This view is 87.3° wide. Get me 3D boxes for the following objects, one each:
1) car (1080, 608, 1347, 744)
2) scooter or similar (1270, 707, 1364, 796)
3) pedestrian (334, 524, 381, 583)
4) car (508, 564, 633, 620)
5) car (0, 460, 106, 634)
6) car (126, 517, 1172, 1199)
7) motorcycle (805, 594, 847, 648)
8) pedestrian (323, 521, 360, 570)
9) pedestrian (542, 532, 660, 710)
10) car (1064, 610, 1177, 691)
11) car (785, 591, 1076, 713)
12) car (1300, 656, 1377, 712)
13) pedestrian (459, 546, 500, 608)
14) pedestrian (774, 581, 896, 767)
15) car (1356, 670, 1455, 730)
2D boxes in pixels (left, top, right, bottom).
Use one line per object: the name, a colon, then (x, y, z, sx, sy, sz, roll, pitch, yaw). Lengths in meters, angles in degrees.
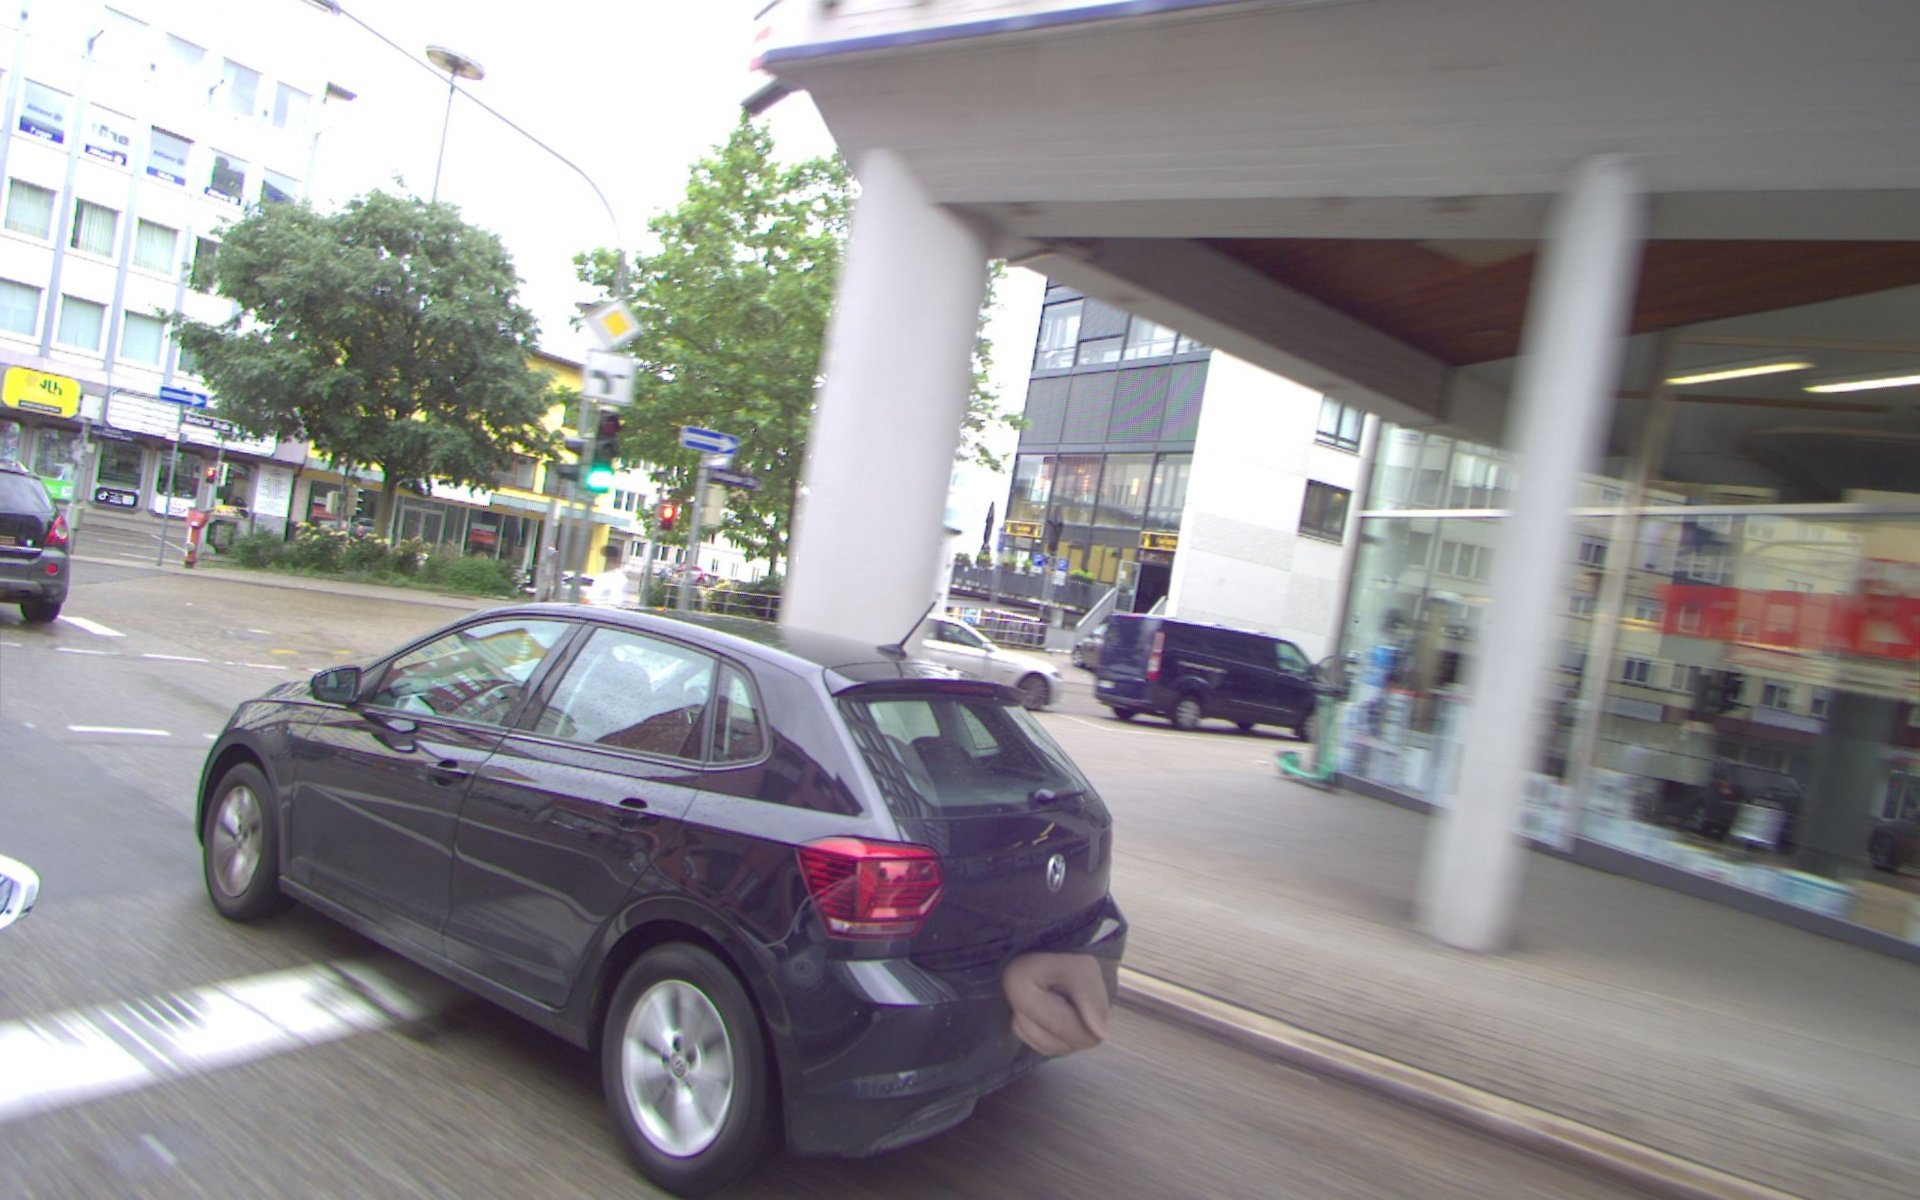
car: (4.930, 1.488, 19.417, 4.751, 2.021, 1.947, 8, -1, -28)
scooter or similar: (4.154, 1.748, 11.764, 0.303, 0.834, 1.121, 7, 0, -20)
pedestrian: (-21.027, -1.632, 35.120, 0.875, 1.847, 0.826, 9, -2, 26)
car: (-15.572, -0.296, 40.359, 1.803, 1.430, 4.185, 14, 2, 42)
car: (-11.678, -0.809, 11.268, 4.431, 1.715, 1.900, 7, 0, 33)
car: (-1.411, 0.658, 3.976, 3.935, 1.494, 1.691, 7, -1, 33)
motorcycle: (-3.537, 0.533, 26.413, 0.620, 1.131, 1.931, 8, 3, -18)
pedestrian: (-26.103, -2.283, 42.464, 0.666, 1.845, 0.894, 7, -4, 11)
pedestrian: (-3.975, 0.230, 11.175, 0.815, 1.841, 0.723, 6, 1, 22)
car: (4.630, 1.419, 29.663, 1.603, 1.657, 3.918, 8, 3, -16)
car: (-0.533, 0.940, 18.094, 4.786, 1.512, 1.848, 8, -1, -21)
car: (12.975, 2.843, 34.645, 1.596, 1.572, 3.692, 7, -1, 9)
pedestrian: (-15.170, -0.710, 31.765, 0.670, 1.845, 0.713, 3, -6, 41)
pedestrian: (-1.247, 0.721, 9.985, 0.718, 1.711, 0.820, 5, 2, -41)
car: (15.141, 3.349, 34.404, 1.597, 1.572, 3.690, 7, -1, 1)
